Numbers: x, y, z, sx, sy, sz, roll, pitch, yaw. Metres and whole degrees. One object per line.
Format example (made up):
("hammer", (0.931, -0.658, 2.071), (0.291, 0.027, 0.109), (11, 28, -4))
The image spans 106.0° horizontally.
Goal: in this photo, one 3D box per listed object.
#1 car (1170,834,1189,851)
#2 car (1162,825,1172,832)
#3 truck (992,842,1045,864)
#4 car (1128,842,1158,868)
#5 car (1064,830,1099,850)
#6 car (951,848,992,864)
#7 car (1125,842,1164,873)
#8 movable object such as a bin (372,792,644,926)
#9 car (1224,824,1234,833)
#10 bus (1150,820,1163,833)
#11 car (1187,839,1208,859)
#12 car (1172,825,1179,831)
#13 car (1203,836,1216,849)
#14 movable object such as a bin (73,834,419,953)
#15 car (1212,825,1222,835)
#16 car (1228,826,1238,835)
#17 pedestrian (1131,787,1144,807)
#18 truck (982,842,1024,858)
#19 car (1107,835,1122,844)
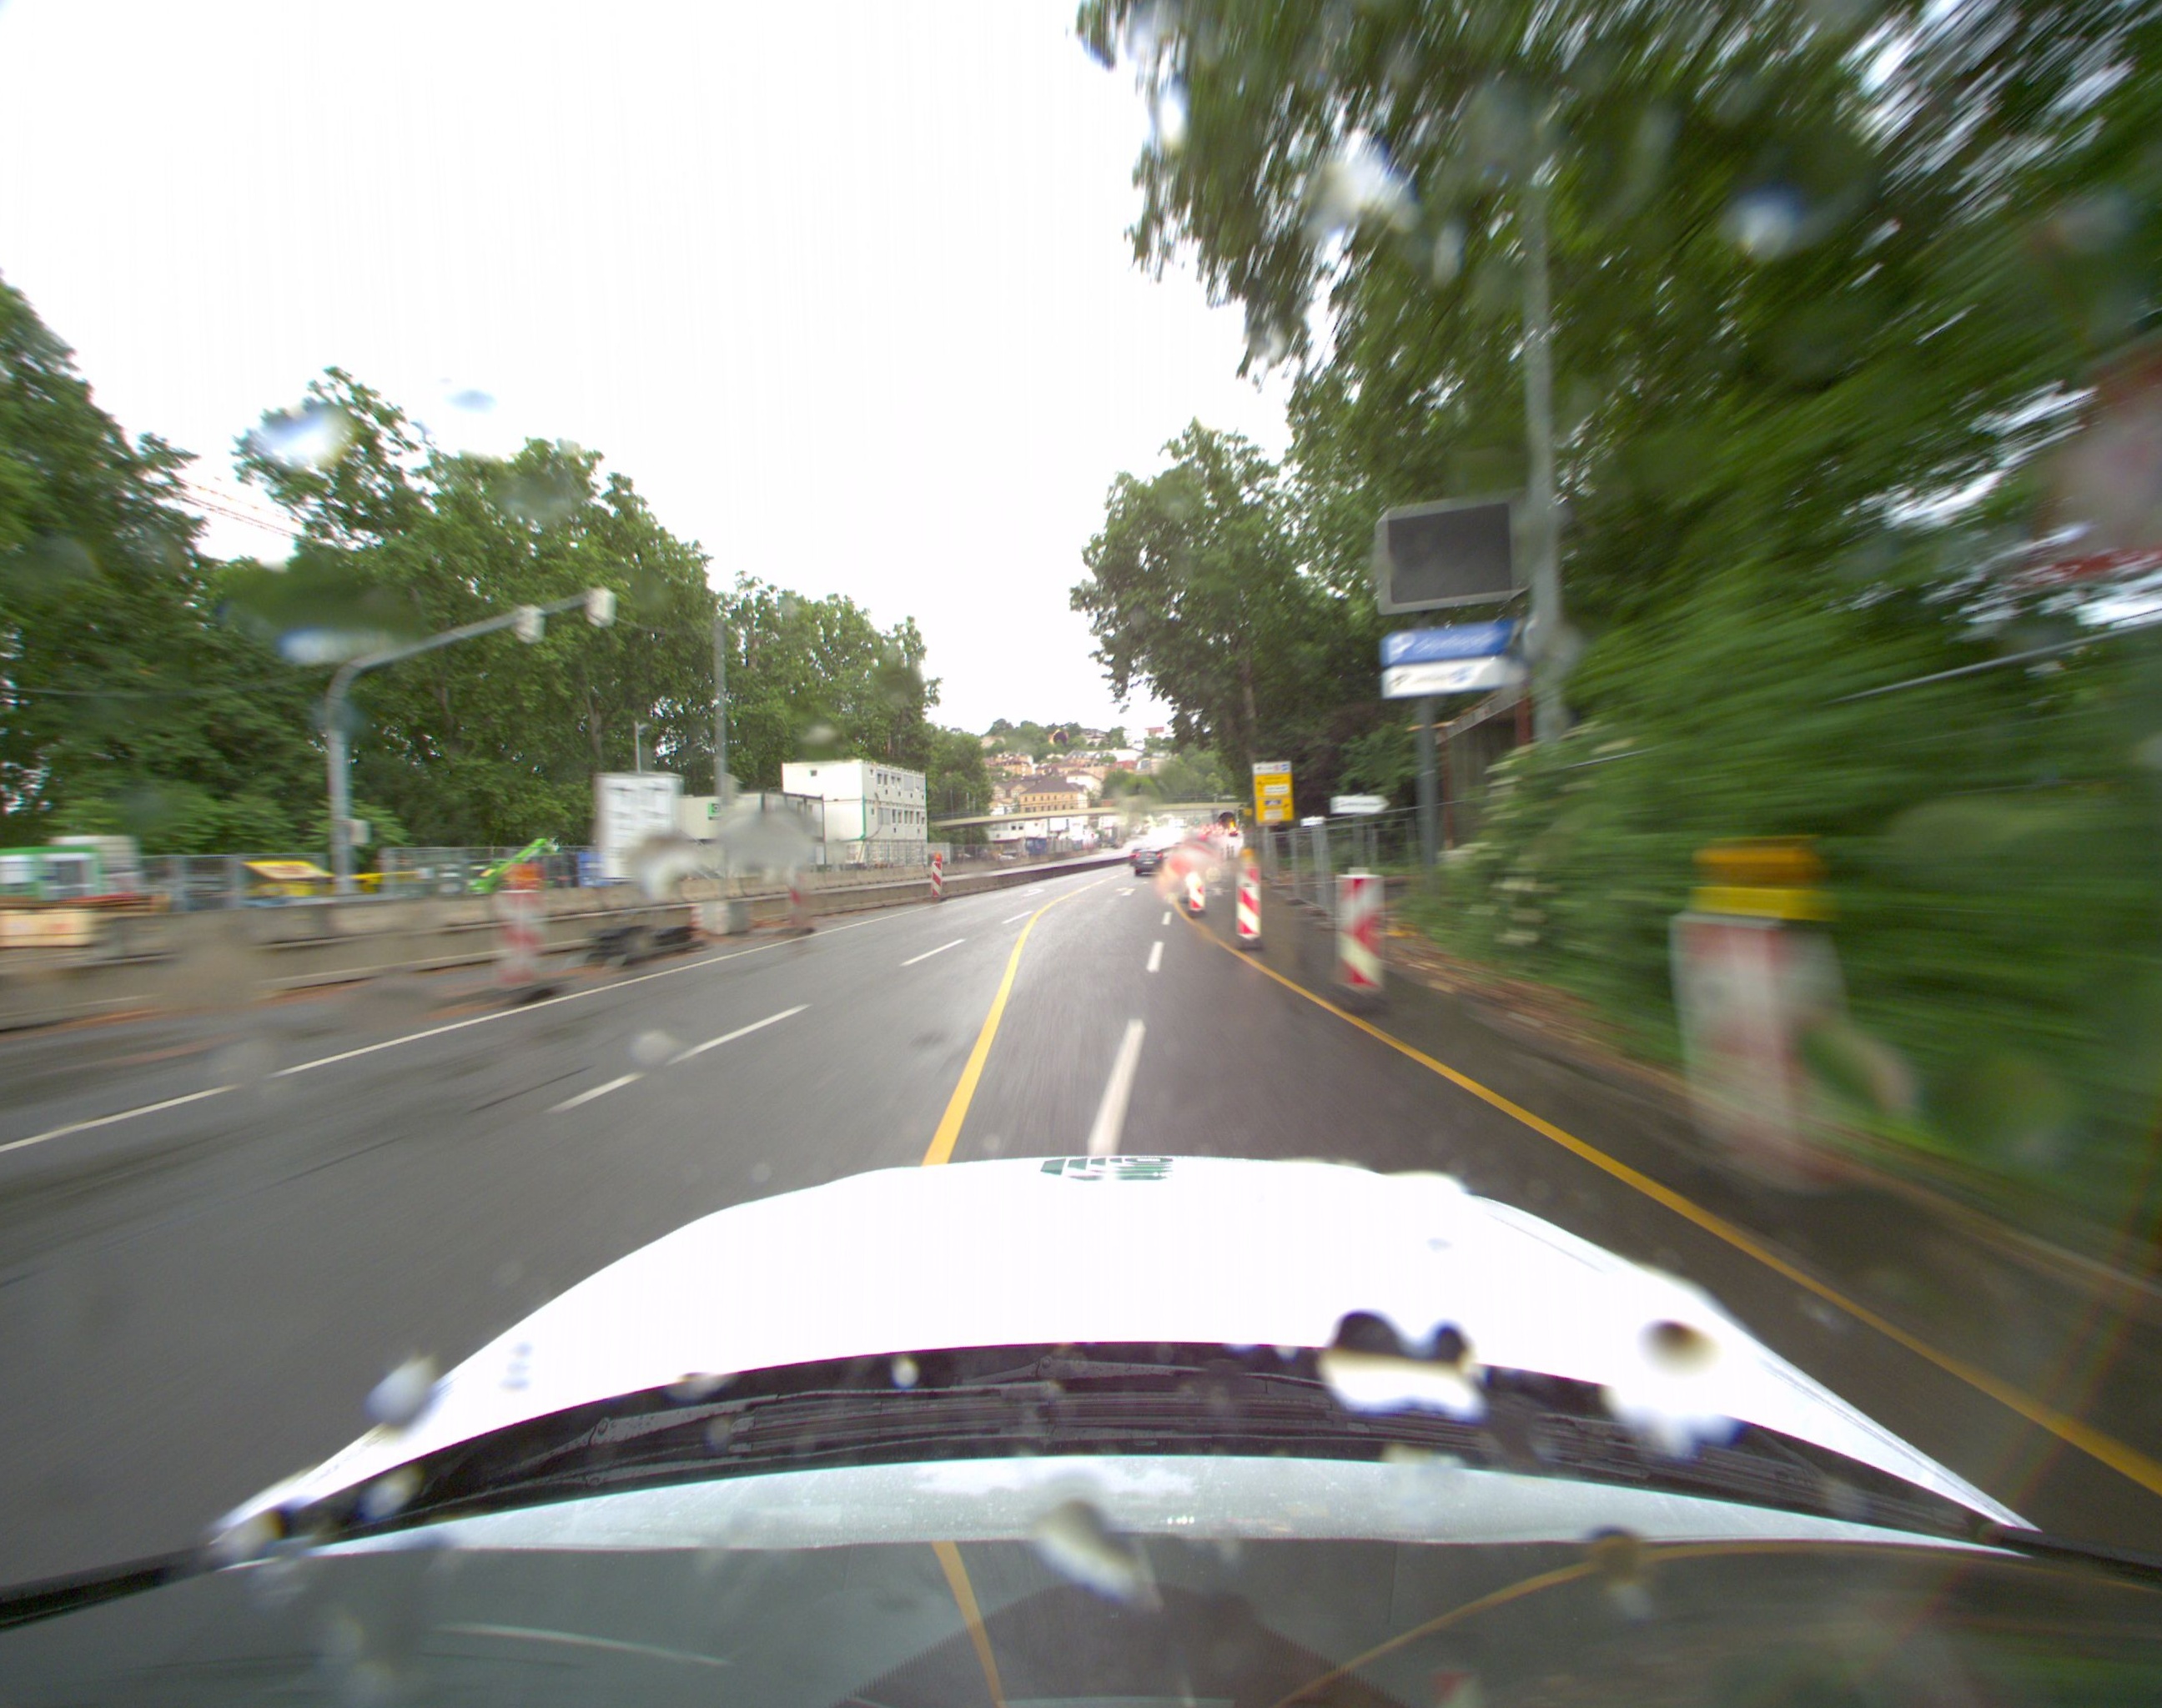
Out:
("car", (12.999, -1.479, 107.011), (1.980, 2.013, 4.014), (-3, 0, 13))
("car", (22.596, -6.754, 213.589), (2.069, 1.630, 4.866), (-3, 1, 10))
("truck", (-7.869, -0.089, 103.620), (6.250, 2.452, 2.696), (-3, 0, 3))
("car", (5.239, 0.087, 68.571), (2.004, 2.013, 4.012), (-3, 0, 10))
("car", (0.075, -2.214, 125.713), (1.974, 2.875, 6.091), (-3, 0, 37))
("car", (-12.674, 0.184, 94.318), (4.406, 1.627, 1.960), (-3, 0, 1))
("car", (3.542, 0.183, 45.826), (1.807, 1.527, 3.999), (-3, 0, 0))
("movable object such as a bin", (-23.655, 0.184, 34.542), (4.722, 4.803, 8.380), (-3, 0, 9))
("car", (33.512, -5.772, 184.327), (1.982, 1.698, 4.010), (-3, 0, 9))
("bus", (20.662, -7.448, 222.334), (2.788, 3.184, 8.834), (-3, 1, 10))
("car", (12.892, -0.595, 90.047), (2.091, 2.050, 4.012), (-3, 0, 10))
("car", (26.761, -7.333, 230.193), (1.698, 1.489, 3.462), (-3, 0, 12))
("car", (20.840, -1.797, 132.046), (2.039, 2.013, 4.011), (-3, 0, 9))
("movable object such as a bin", (-25.746, 1.084, 25.707), (3.909, 3.128, 6.404), (-3, 0, 9))
("car", (29.158, -5.149, 175.193), (1.982, 1.869, 4.010), (-3, 0, 9))
("car", (33.151, -5.150, 177.937), (1.982, 1.698, 4.010), (-3, 0, 9))
("pedestrian", (6.154, -6.195, 88.498), (1.138, 2.060, 1.064), (-3, 0, 18))
("truck", (-10.723, -0.552, 112.058), (5.220, 2.013, 2.168), (-3, 1, 6))
("car", (6.383, -2.793, 156.605), (1.979, 1.621, 4.017), (-2, 2, 14))
